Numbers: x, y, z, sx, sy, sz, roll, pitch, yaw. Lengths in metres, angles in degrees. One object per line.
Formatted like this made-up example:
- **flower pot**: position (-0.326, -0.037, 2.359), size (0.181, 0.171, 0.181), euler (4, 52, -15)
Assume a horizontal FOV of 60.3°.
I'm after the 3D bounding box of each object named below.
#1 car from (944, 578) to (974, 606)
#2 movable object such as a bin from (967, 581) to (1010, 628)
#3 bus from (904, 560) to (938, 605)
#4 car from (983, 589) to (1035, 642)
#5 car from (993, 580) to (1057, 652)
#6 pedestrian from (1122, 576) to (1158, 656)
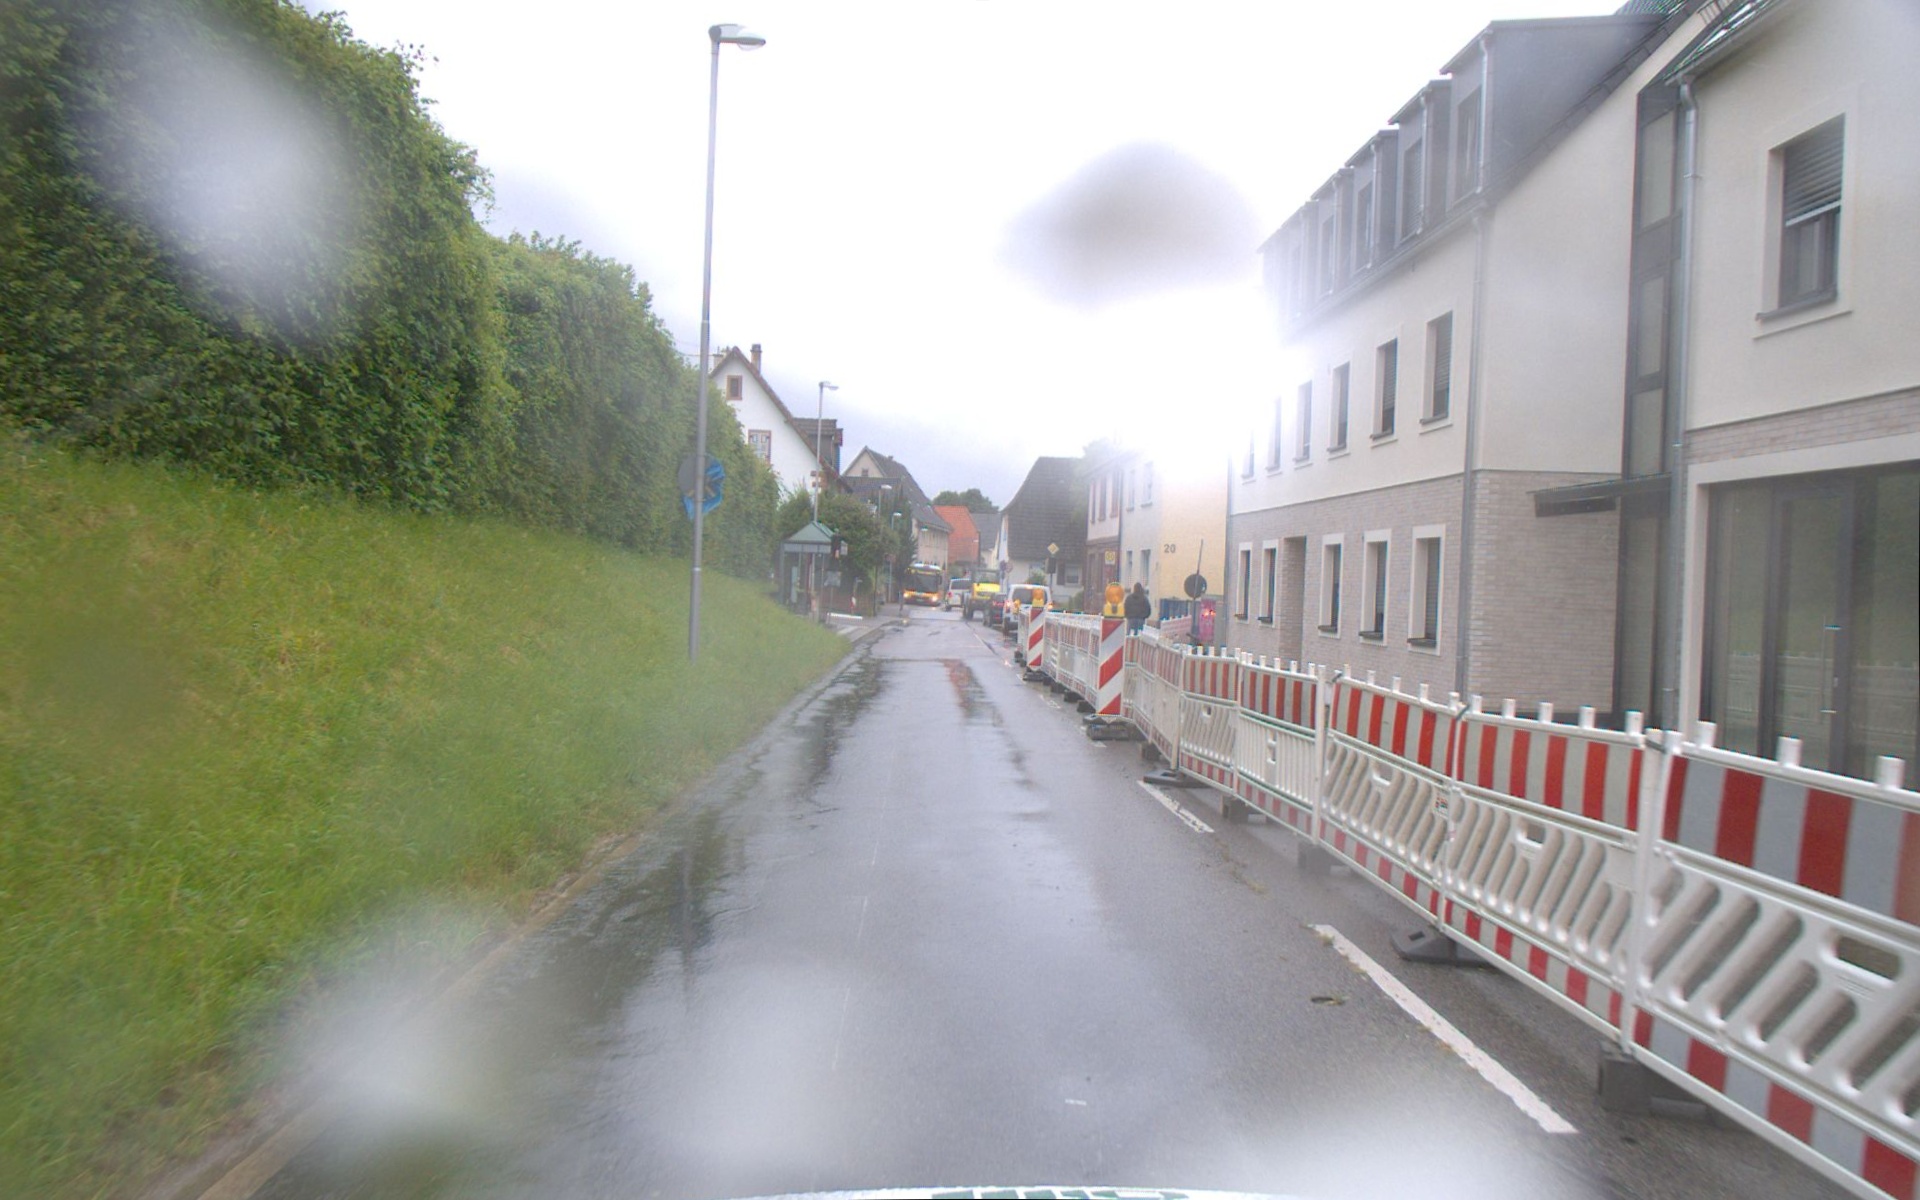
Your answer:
- **car**: position (-0.099, -0.486, 105.129), size (1.781, 1.670, 4.094), euler (3, 0, -1)
- **movable object such as a bin**: position (1.410, 0.215, 83.665), size (1.953, 2.210, 3.999), euler (3, 0, 0)
- **bus**: position (-2.907, -1.267, 124.475), size (2.195, 3.157, 7.031), euler (3, 0, 1)
- **car**: position (2.039, 0.636, 69.989), size (1.953, 2.048, 3.999), euler (3, 0, -1)
- **car**: position (2.338, 0.556, 60.366), size (1.953, 2.416, 4.094), euler (3, 0, -1)
- **pedestrian**: position (4.148, 0.363, 38.219), size (0.652, 1.786, 0.812), euler (3, 0, -1)
